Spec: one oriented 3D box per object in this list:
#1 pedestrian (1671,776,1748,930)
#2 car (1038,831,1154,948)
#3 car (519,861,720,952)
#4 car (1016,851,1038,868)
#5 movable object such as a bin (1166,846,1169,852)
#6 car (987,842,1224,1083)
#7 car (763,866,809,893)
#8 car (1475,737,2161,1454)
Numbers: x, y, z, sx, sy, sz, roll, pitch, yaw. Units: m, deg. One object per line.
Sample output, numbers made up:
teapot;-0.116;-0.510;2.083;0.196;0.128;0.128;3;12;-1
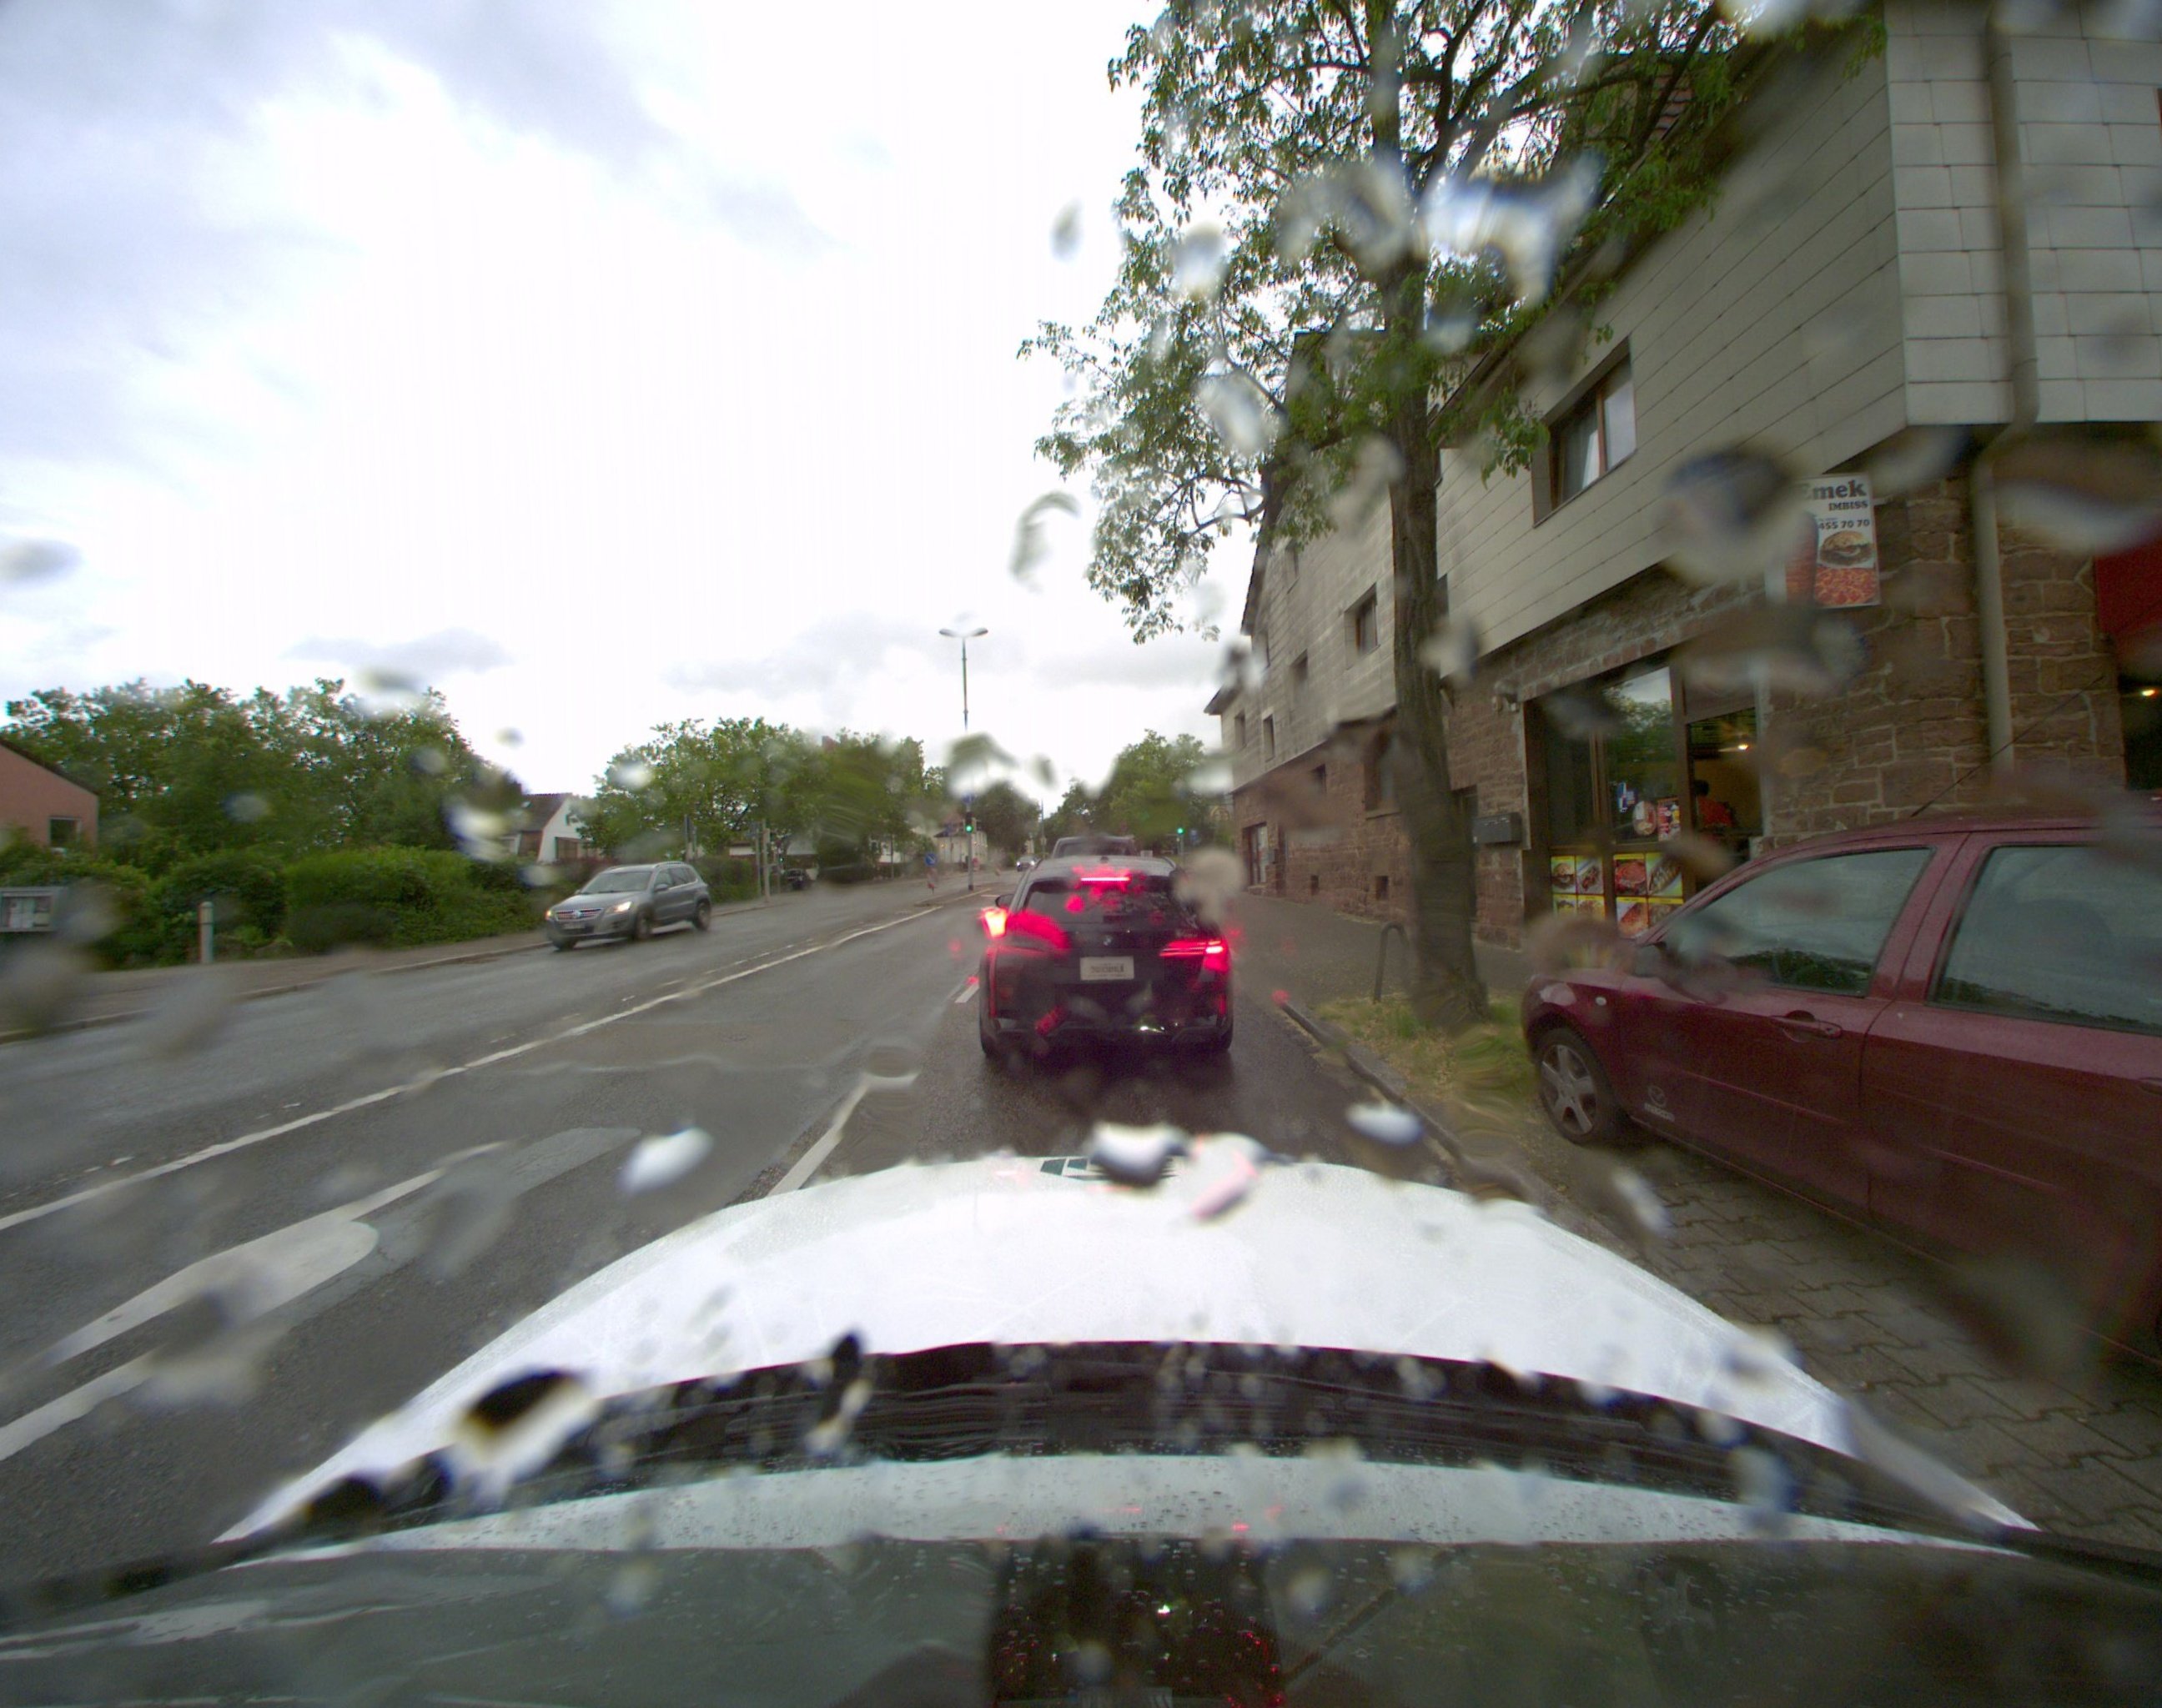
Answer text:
pedestrian;6.979;-0.008;9.060;0.490;1.660;0.455;0;-1;1
car;0.205;0.563;14.612;1.807;1.809;3.754;0;-1;-1
car;-9.799;1.025;17.764;1.903;1.590;4.315;-3;0;-1
car;-5.449;0.491;82.407;1.893;1.577;4.500;-2;1;-1
movable object such as a bin;12.237;-0.714;115.219;0.446;0.906;0.465;-1;-1;17
car;0.129;0.710;7.026;1.519;1.534;3.530;0;-1;-1
car;-20.973;1.761;58.115;1.803;1.551;4.001;0;3;0
car;3.054;0.537;2.699;1.606;1.504;3.754;0;-2;-1
